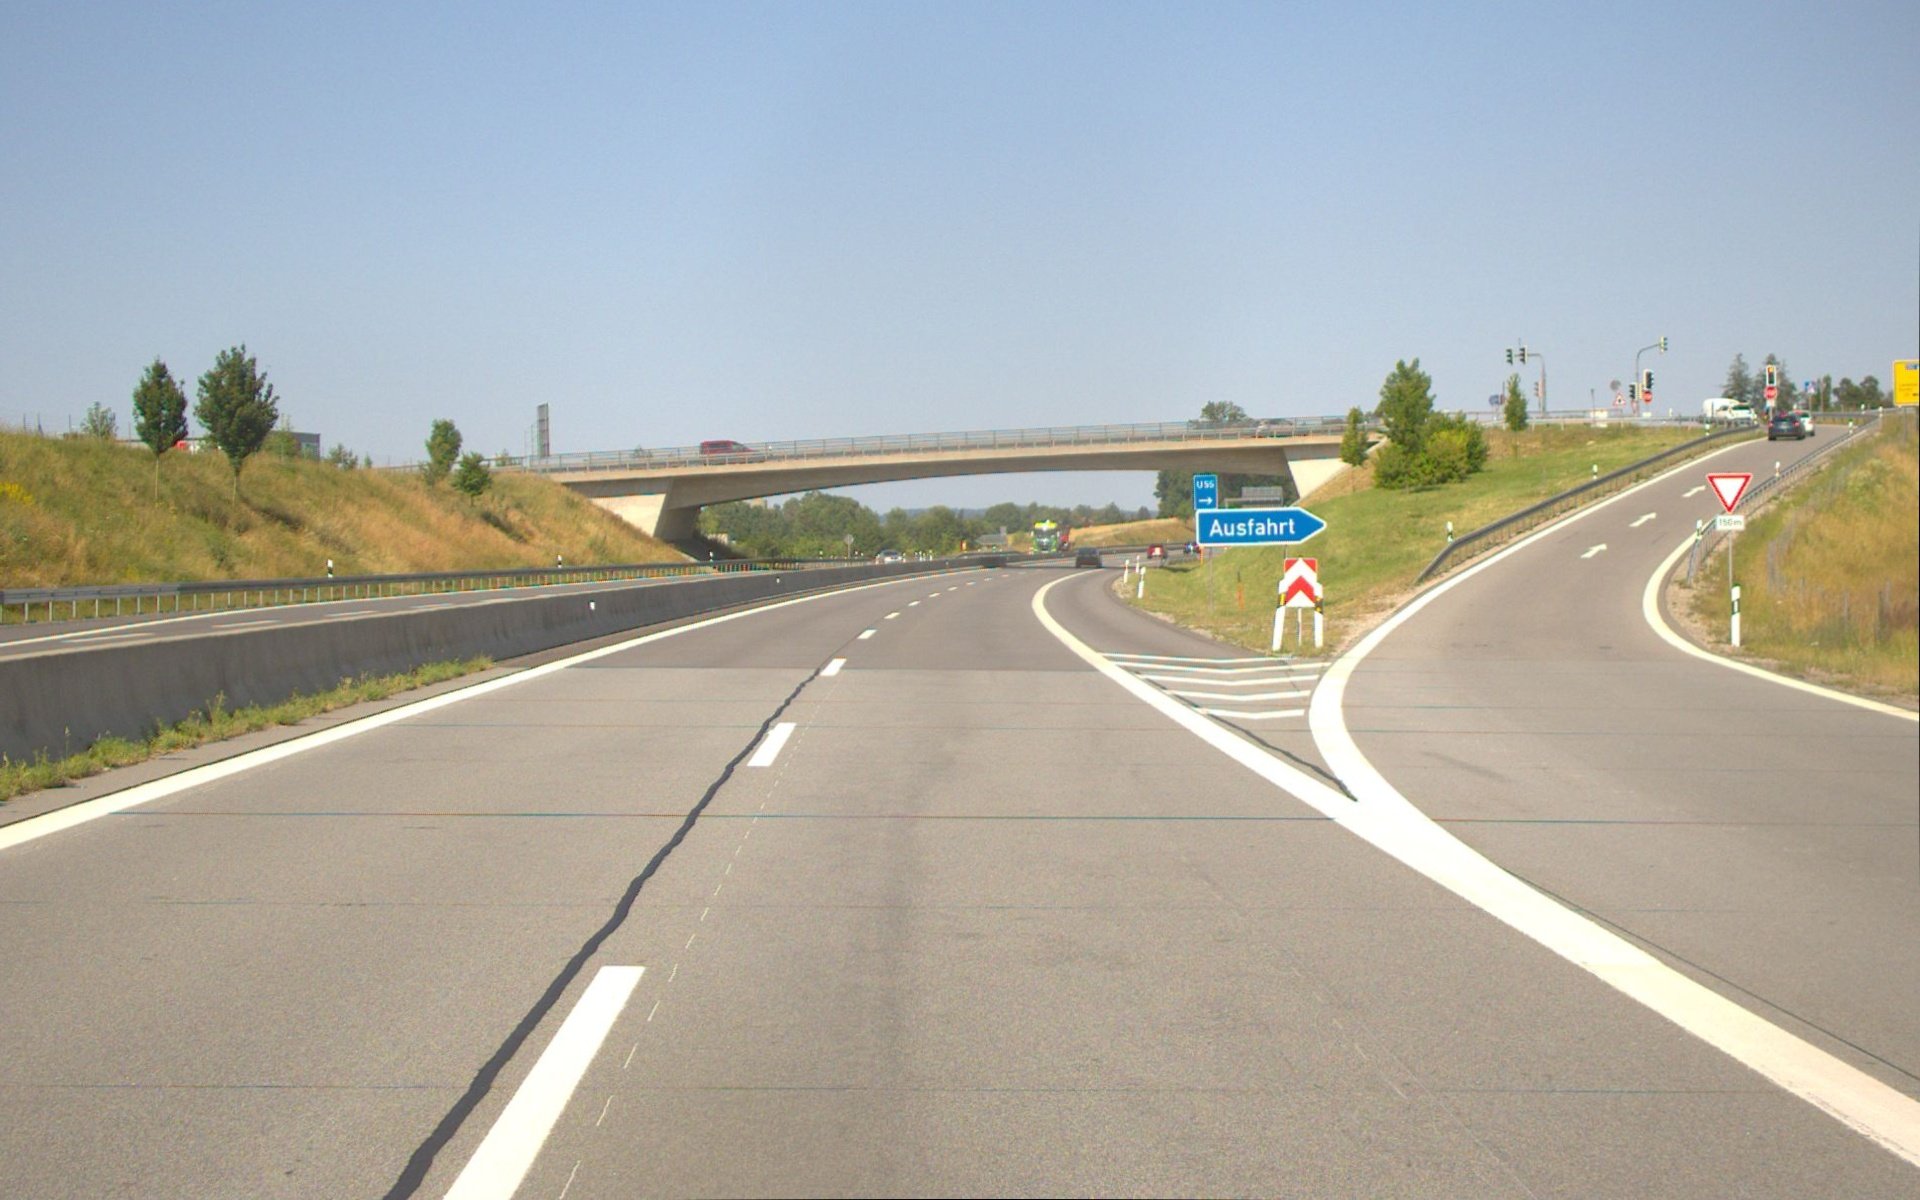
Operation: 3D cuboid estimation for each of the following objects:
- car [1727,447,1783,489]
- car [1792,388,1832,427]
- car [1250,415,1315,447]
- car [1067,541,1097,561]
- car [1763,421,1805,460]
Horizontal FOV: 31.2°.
[{"bbox_3d":[32.732,-5.425,141.476,1.995,1.612,3.997,-2,1,16],"label":"car"},{"bbox_3d":[48.783,-11.011,196.842,1.995,2.007,3.997,-2,1,16],"label":"car"},{"bbox_3d":[22.237,-11.672,237.126,4.248,2.014,2.000,-2,2,0],"label":"car"},{"bbox_3d":[8.871,-3.558,250.032,1.993,1.415,4.000,-2,1,0],"label":"car"},{"bbox_3d":[45.488,-8.793,189.724,1.995,2.007,3.997,-2,1,16],"label":"car"}]
